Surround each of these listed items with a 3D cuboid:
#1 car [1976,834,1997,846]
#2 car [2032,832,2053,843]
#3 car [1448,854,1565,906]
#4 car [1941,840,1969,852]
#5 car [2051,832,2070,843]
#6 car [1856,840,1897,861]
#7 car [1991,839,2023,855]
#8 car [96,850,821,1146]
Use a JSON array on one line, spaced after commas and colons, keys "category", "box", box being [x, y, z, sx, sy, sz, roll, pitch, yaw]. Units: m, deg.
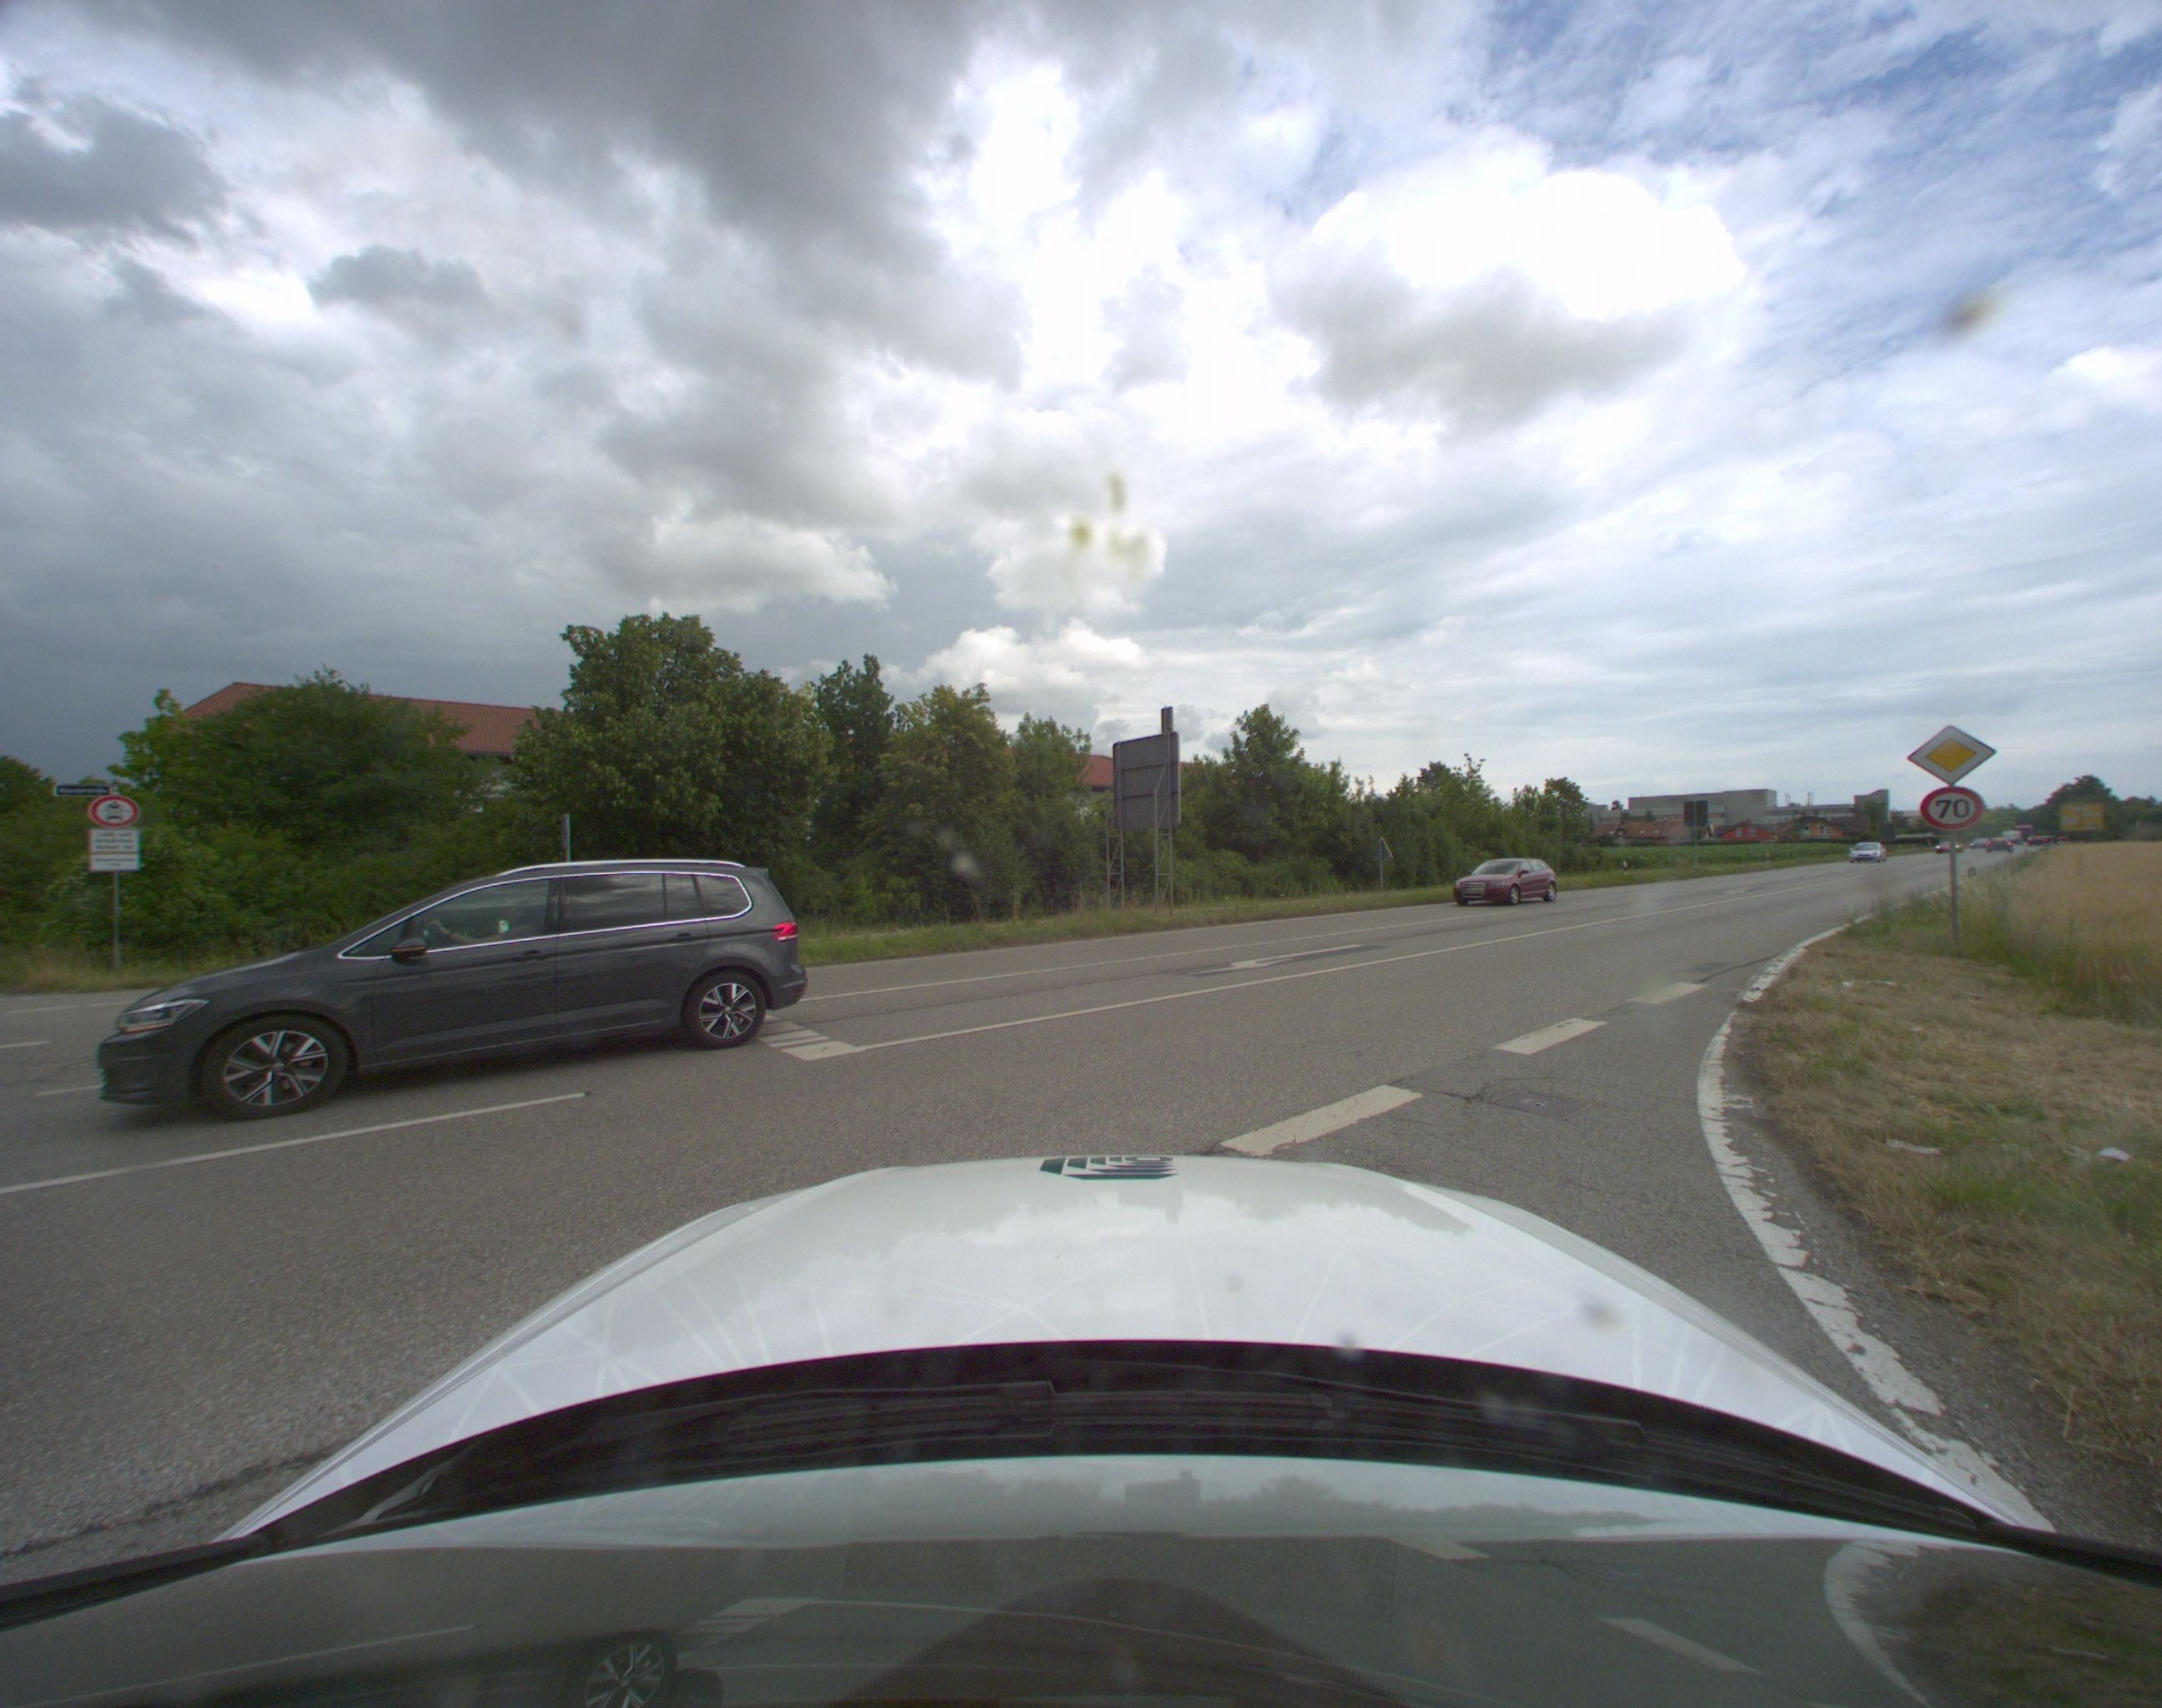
[{"category": "car", "box": [124.405, -1.934, 111.859, 4.324, 1.429, 1.655, -1, -2, -39]}, {"category": "car", "box": [150.860, -2.570, 127.748, 4.018, 1.728, 1.844, -2, 0, -36]}, {"category": "car", "box": [13.305, 0.784, 25.379, 4.109, 1.402, 1.659, -2, -1, -38]}, {"category": "car", "box": [94.823, -0.865, 88.342, 4.233, 1.241, 1.756, -1, -1, -40]}, {"category": "car", "box": [167.363, -2.813, 139.183, 4.018, 1.728, 1.844, -2, 0, -36]}, {"category": "car", "box": [60.016, -0.261, 61.406, 3.954, 1.432, 1.715, -1, -2, -39]}, {"category": "car", "box": [97.871, -0.753, 86.090, 4.018, 1.566, 1.844, -2, 0, -36]}, {"category": "car", "box": [-4.632, 0.866, 6.810, 4.312, 1.658, 1.733, -1, -1, -39]}]
